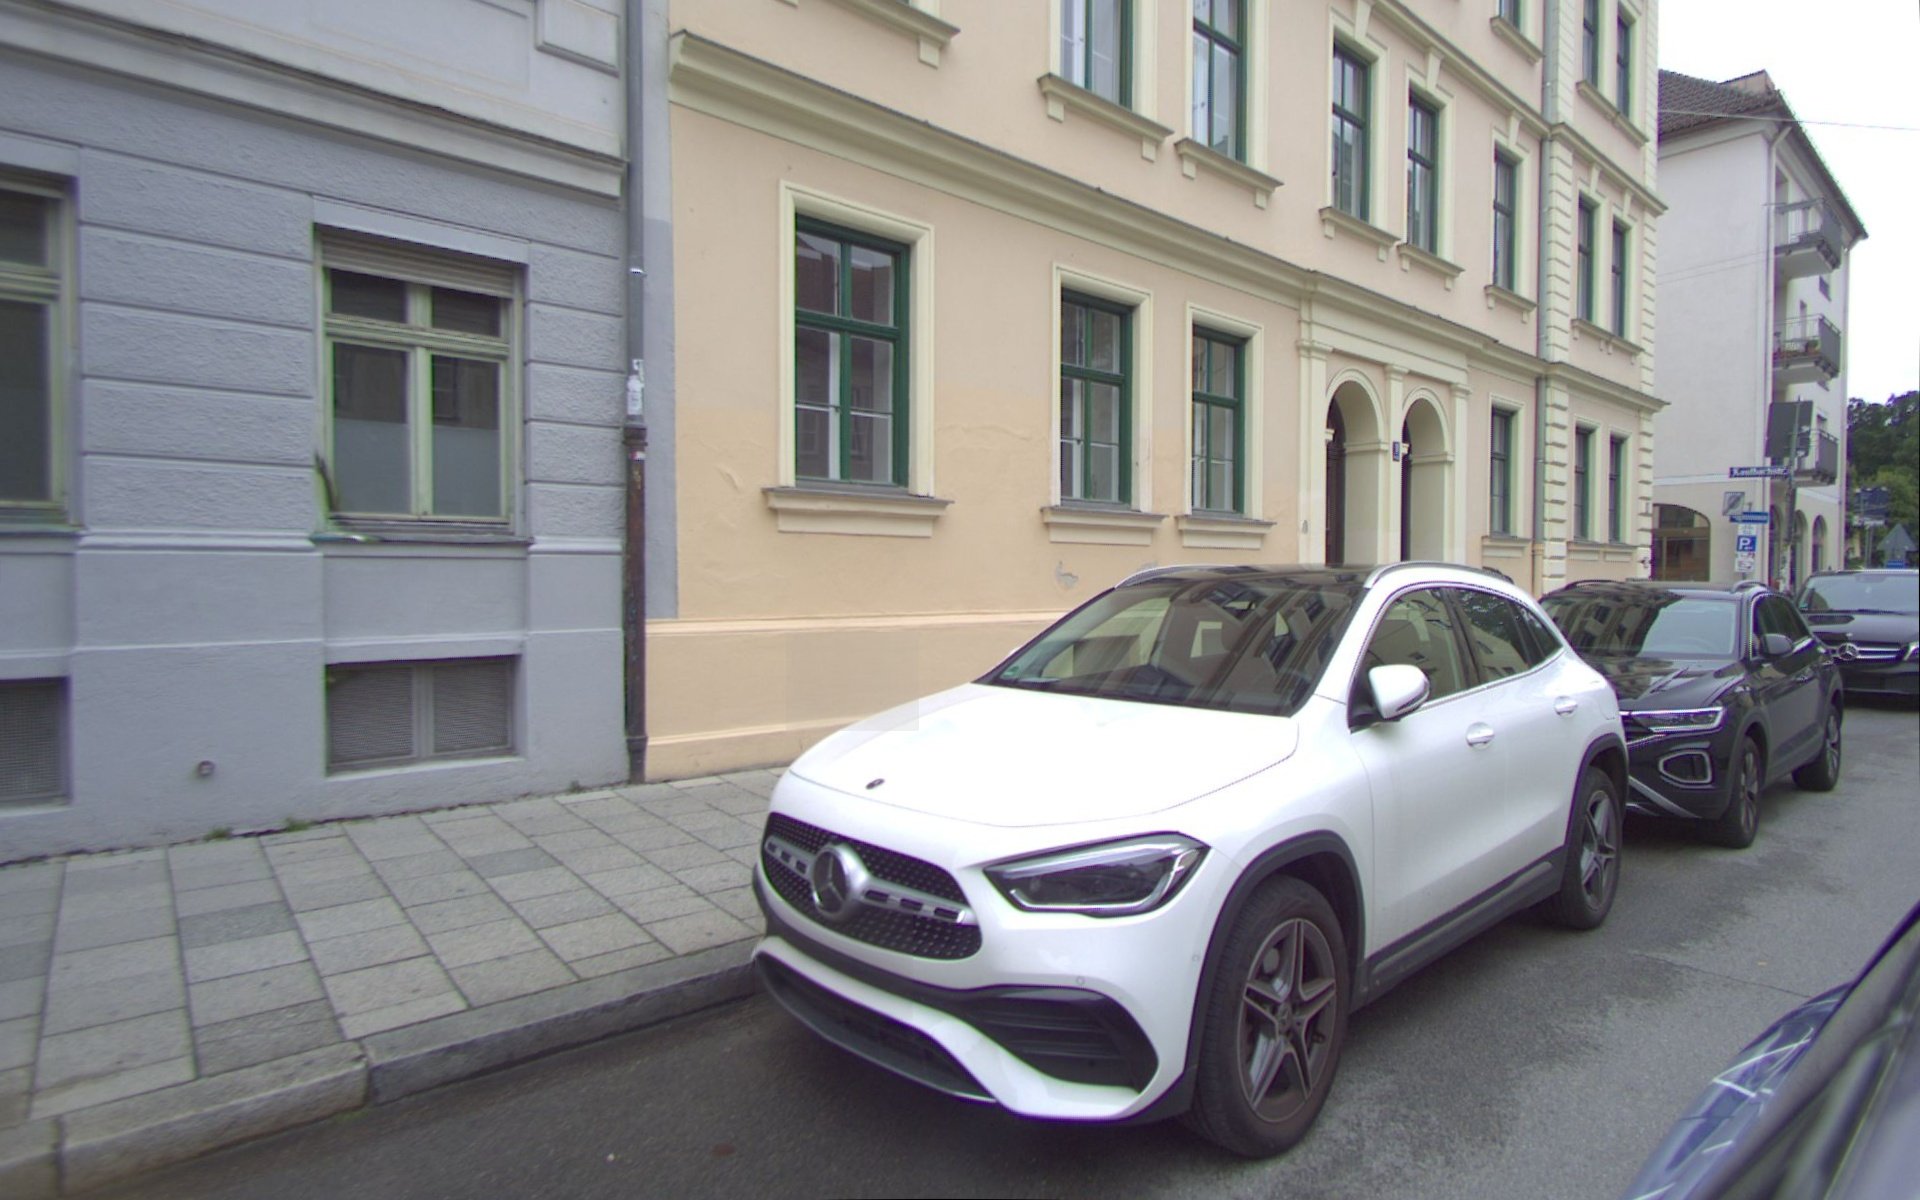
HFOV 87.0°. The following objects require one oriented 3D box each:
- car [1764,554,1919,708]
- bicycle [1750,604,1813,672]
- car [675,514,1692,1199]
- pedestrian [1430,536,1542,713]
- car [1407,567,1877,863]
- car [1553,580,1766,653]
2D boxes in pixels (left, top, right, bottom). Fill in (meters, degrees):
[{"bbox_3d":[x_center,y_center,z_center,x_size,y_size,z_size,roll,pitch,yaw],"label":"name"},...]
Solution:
[{"bbox_3d":[13.445,0.357,14.490,5.159,1.888,2.002,0,1,-39],"label":"car"},{"bbox_3d":[13.902,0.646,17.119,1.698,1.065,0.466,3,1,-40],"label":"bicycle"},{"bbox_3d":[1.282,0.589,4.095,4.388,1.603,1.746,-1,1,-40],"label":"car"},{"bbox_3d":[5.479,0.216,10.533,0.987,1.738,0.720,-2,2,-42],"label":"pedestrian"},{"bbox_3d":[5.085,0.555,7.307,4.199,1.540,1.758,-1,1,-40],"label":"car"},{"bbox_3d":[17.431,0.370,25.369,1.724,1.625,4.095,2,0,-42],"label":"car"}]
